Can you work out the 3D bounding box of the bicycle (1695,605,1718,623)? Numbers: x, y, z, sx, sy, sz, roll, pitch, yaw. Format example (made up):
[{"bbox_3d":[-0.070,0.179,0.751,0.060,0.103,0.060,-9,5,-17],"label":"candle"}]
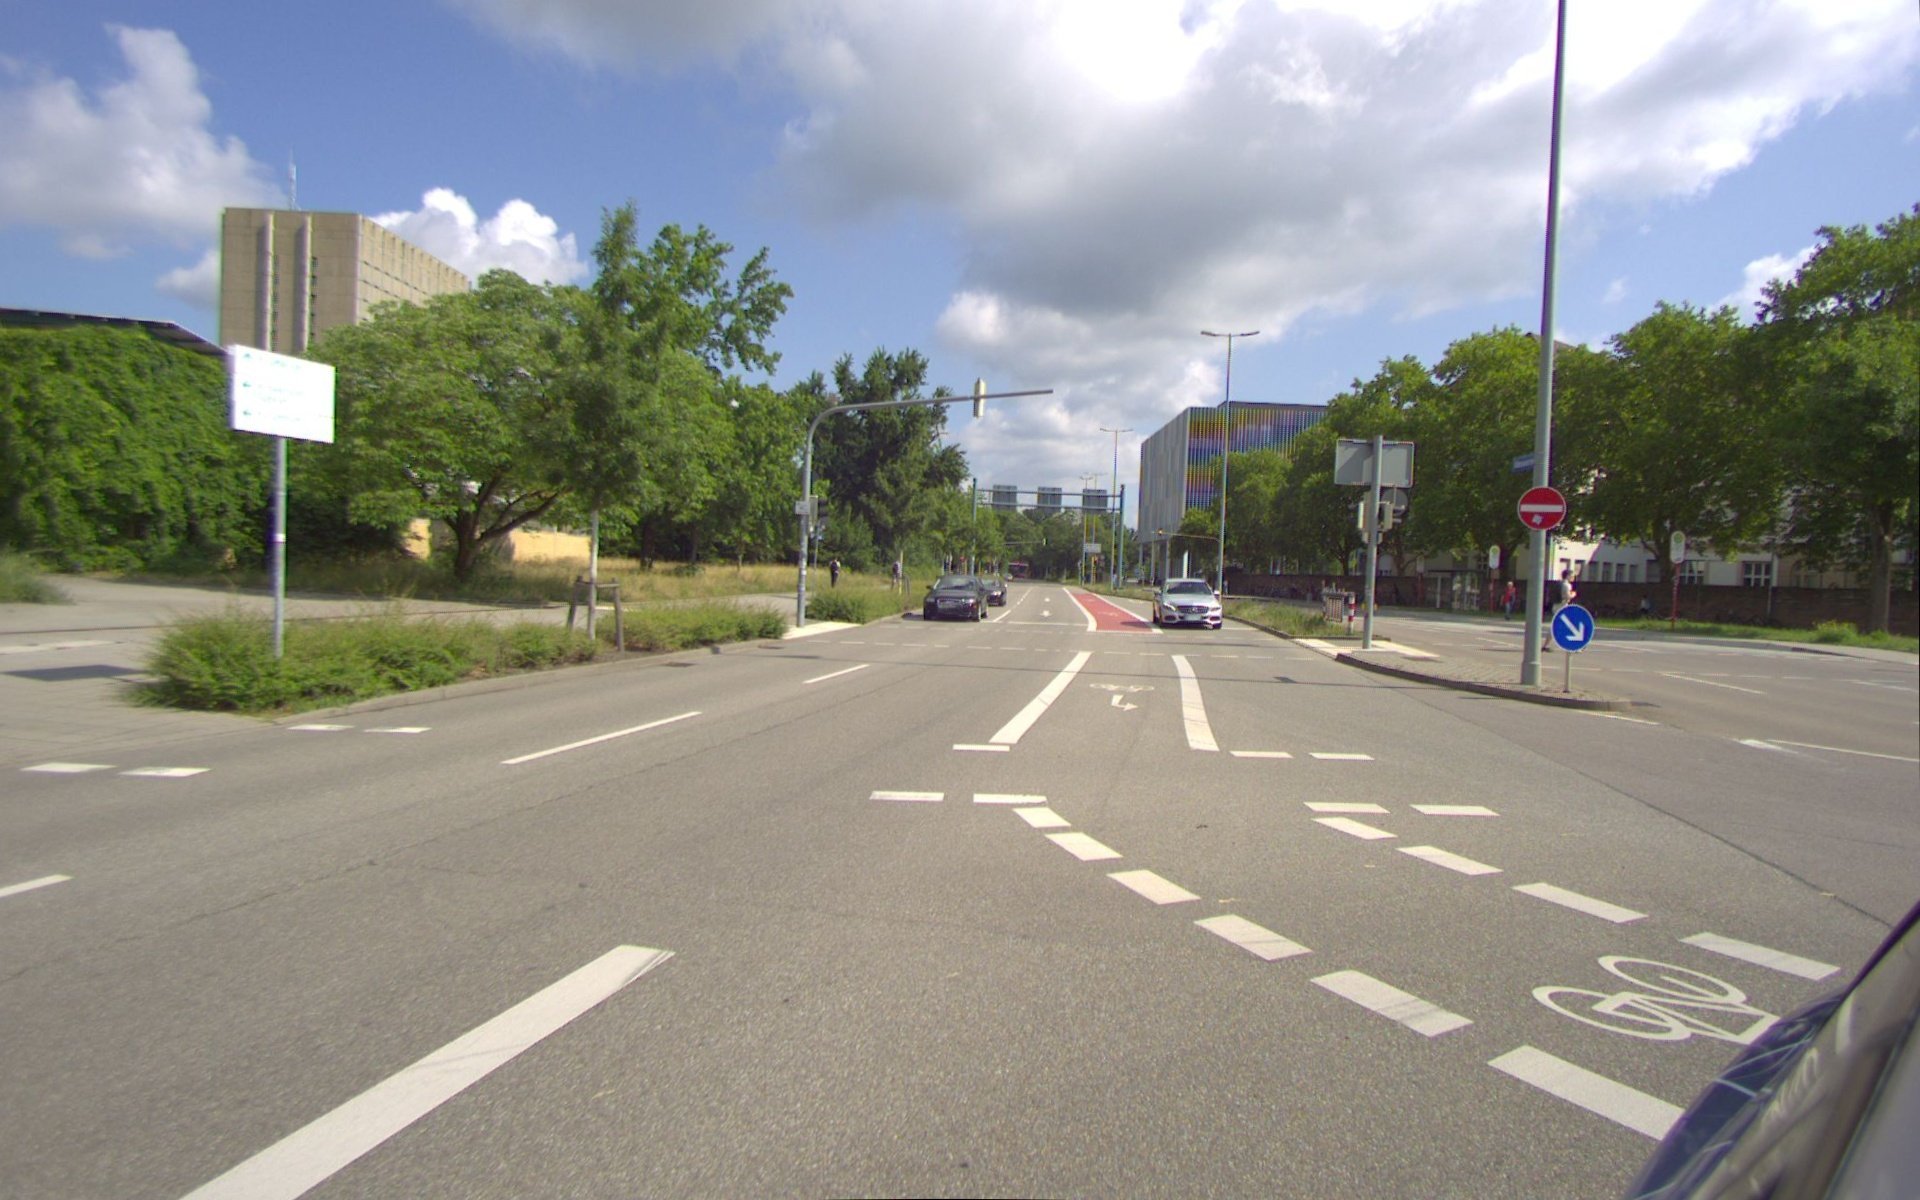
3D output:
[{"bbox_3d":[38.744,0.729,52.532,0.953,0.859,0.484,2,2,-20],"label":"bicycle"}]

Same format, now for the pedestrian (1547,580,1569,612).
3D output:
[{"bbox_3d":[34.754,-0.237,58.810,0.650,1.744,0.744,2,2,-17],"label":"pedestrian"}]

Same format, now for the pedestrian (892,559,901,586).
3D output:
[{"bbox_3d":[-4.347,-1.887,69.375,0.531,1.791,0.524,3,-1,-1],"label":"pedestrian"}]

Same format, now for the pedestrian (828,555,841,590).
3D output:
[{"bbox_3d":[-6.103,-1.336,49.323,0.531,1.628,0.524,3,-1,-1],"label":"pedestrian"}]

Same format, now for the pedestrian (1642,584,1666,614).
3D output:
[{"bbox_3d":[37.463,-0.068,54.599,0.711,1.552,0.726,1,2,-19],"label":"pedestrian"}]

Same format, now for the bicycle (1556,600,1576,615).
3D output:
[{"bbox_3d":[36.051,0.457,60.187,0.953,0.859,0.484,2,2,-20],"label":"bicycle"}]

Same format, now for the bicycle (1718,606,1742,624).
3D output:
[{"bbox_3d":[39.083,0.762,51.361,0.953,0.859,0.484,2,2,-20],"label":"bicycle"}]

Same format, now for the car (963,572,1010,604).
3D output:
[{"bbox_3d":[1.261,-0.584,46.507,1.767,1.288,3.995,3,2,6],"label":"car"}]

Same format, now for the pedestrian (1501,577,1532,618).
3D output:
[{"bbox_3d":[25.421,-0.117,46.244,0.734,1.802,0.967,2,2,-8],"label":"pedestrian"}]

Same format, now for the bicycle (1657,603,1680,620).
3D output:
[{"bbox_3d":[38.095,0.597,54.416,0.953,0.859,0.484,2,2,-20],"label":"bicycle"}]

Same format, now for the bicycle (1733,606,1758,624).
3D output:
[{"bbox_3d":[39.382,0.753,50.741,0.953,0.859,0.484,2,2,-20],"label":"bicycle"}]

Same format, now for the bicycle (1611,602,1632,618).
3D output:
[{"bbox_3d":[37.197,0.566,56.898,0.953,0.859,0.484,2,2,-20],"label":"bicycle"}]

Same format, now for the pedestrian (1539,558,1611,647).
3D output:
[{"bbox_3d":[13.563,0.067,22.326,1.156,1.881,0.700,3,-2,-10],"label":"pedestrian"}]

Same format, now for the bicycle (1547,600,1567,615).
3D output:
[{"bbox_3d":[35.832,0.448,60.725,0.953,0.859,0.484,2,2,-20],"label":"bicycle"}]

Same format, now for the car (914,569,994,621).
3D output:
[{"bbox_3d":[-0.107,-0.215,31.688,1.966,1.394,4.154,3,2,6],"label":"car"}]

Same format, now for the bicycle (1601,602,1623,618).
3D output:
[{"bbox_3d":[36.994,0.558,57.417,0.953,0.859,0.484,2,2,-20],"label":"bicycle"}]

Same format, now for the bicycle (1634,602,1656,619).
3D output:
[{"bbox_3d":[37.670,0.582,55.650,0.953,0.859,0.484,2,2,-20],"label":"bicycle"}]

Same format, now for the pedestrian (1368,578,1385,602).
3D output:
[{"bbox_3d":[30.859,-0.736,74.987,0.870,1.802,0.770,0,2,3],"label":"pedestrian"}]

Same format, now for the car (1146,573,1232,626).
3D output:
[{"bbox_3d":[6.900,-0.089,30.940,2.027,1.460,4.773,0,2,7],"label":"car"}]

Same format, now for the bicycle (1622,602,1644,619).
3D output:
[{"bbox_3d":[37.430,0.574,56.287,0.953,0.859,0.484,2,2,-20],"label":"bicycle"}]

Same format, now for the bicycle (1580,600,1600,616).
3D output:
[{"bbox_3d":[36.542,0.475,58.701,0.953,0.859,0.484,2,2,-20],"label":"bicycle"}]

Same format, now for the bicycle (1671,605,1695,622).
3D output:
[{"bbox_3d":[38.289,0.725,53.608,1.051,0.859,0.501,2,2,-20],"label":"bicycle"}]

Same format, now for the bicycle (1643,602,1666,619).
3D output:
[{"bbox_3d":[37.807,0.585,55.098,0.953,0.859,0.484,2,2,-20],"label":"bicycle"}]
